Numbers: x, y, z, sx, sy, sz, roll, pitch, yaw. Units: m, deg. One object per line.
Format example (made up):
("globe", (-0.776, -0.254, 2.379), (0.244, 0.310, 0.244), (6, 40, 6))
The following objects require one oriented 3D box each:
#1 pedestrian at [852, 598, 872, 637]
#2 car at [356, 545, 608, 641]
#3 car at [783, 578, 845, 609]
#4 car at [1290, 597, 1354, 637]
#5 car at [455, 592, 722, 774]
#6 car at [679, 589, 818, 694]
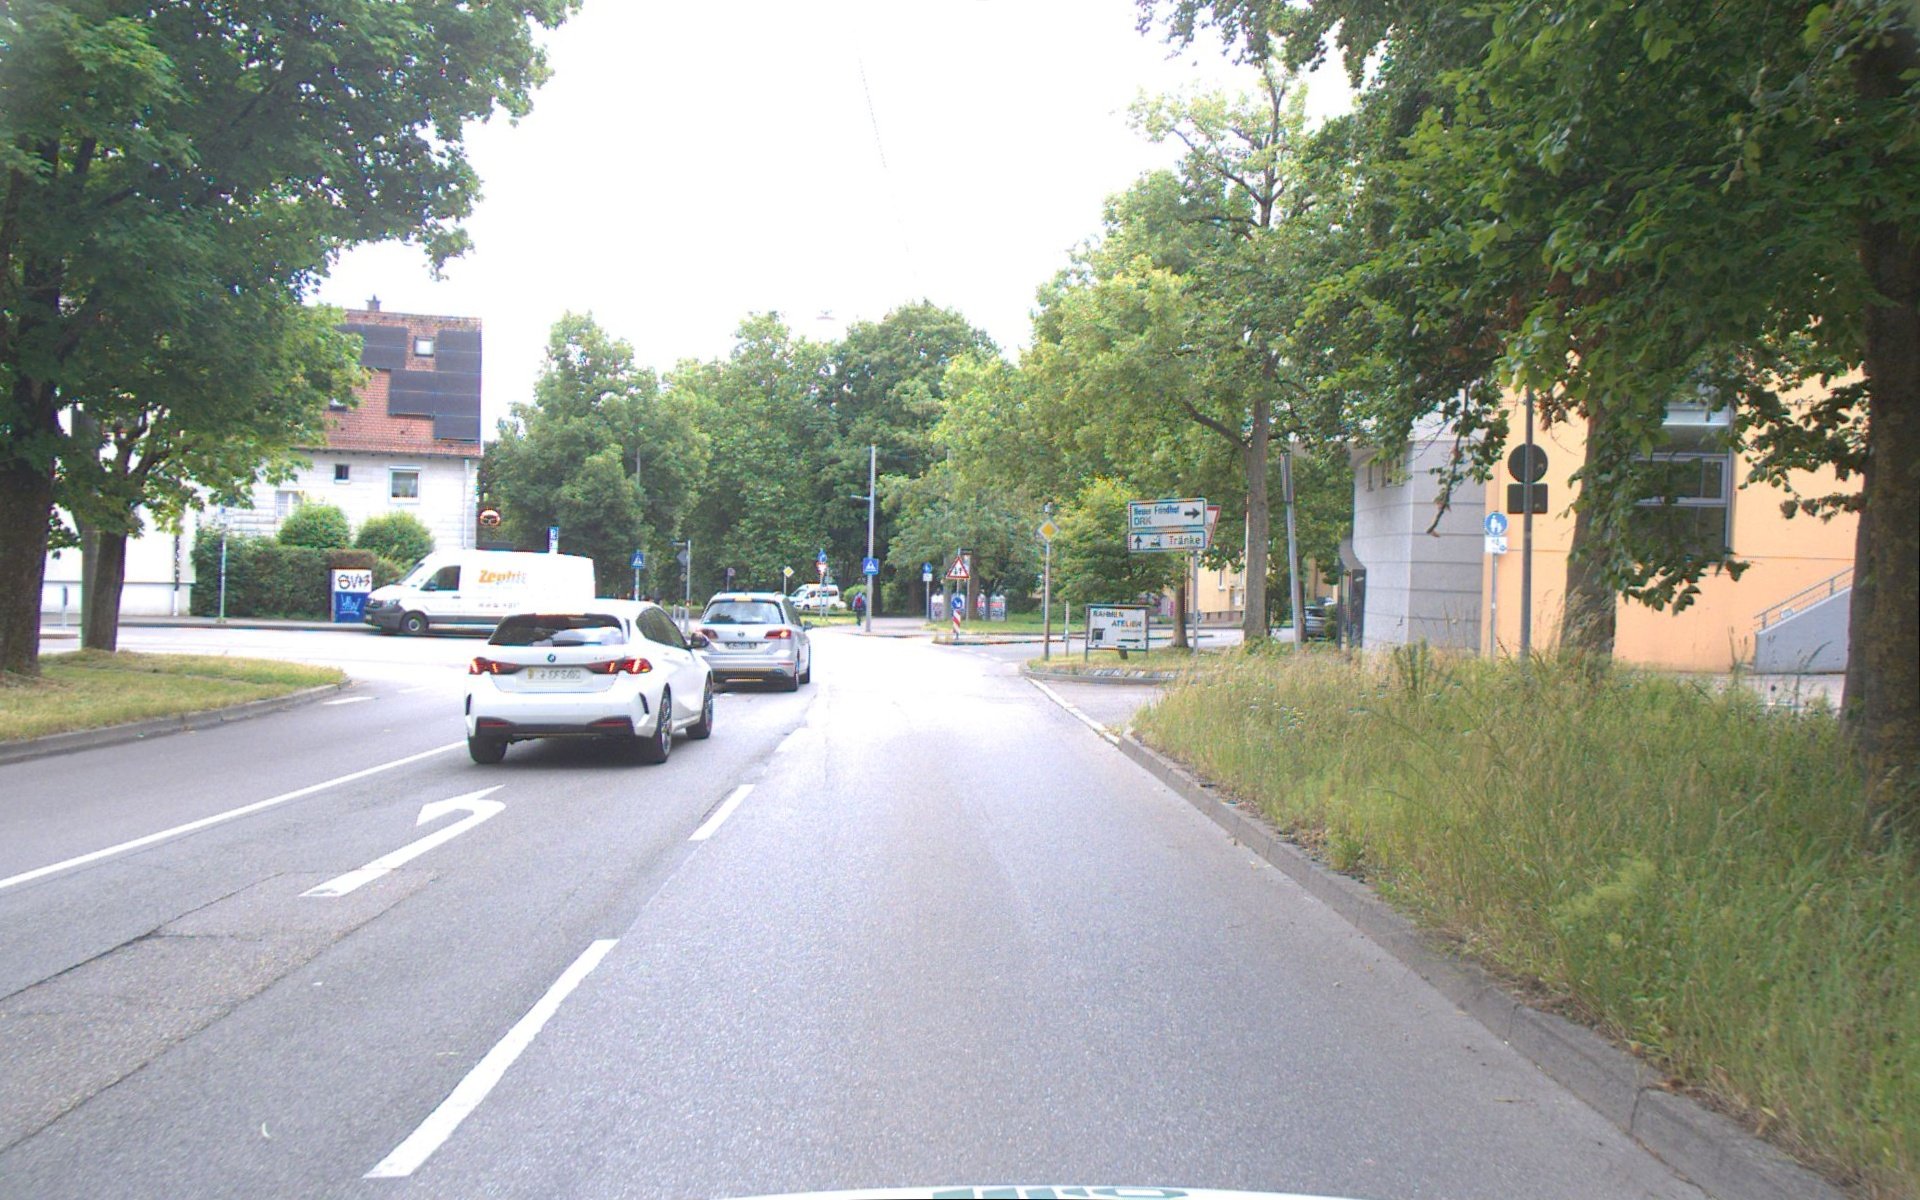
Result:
("pedestrian", (-5.100, 0.911, 85.837), (0.906, 1.903, 1.018), (-3, 3, -5))
("car", (-14.138, -0.169, 49.301), (6.912, 2.565, 2.056), (2, 2, -39))
("car", (-12.407, -0.556, 140.895), (2.096, 2.337, 5.363), (4, 1, 37))
("car", (16.265, 0.773, 74.206), (1.838, 1.596, 4.015), (4, 1, 26))
("car", (-3.511, 0.717, 16.398), (1.759, 1.544, 4.206), (-1, 0, -1))
("car", (-3.497, 0.645, 28.035), (1.884, 1.601, 3.999), (1, 1, -1))
